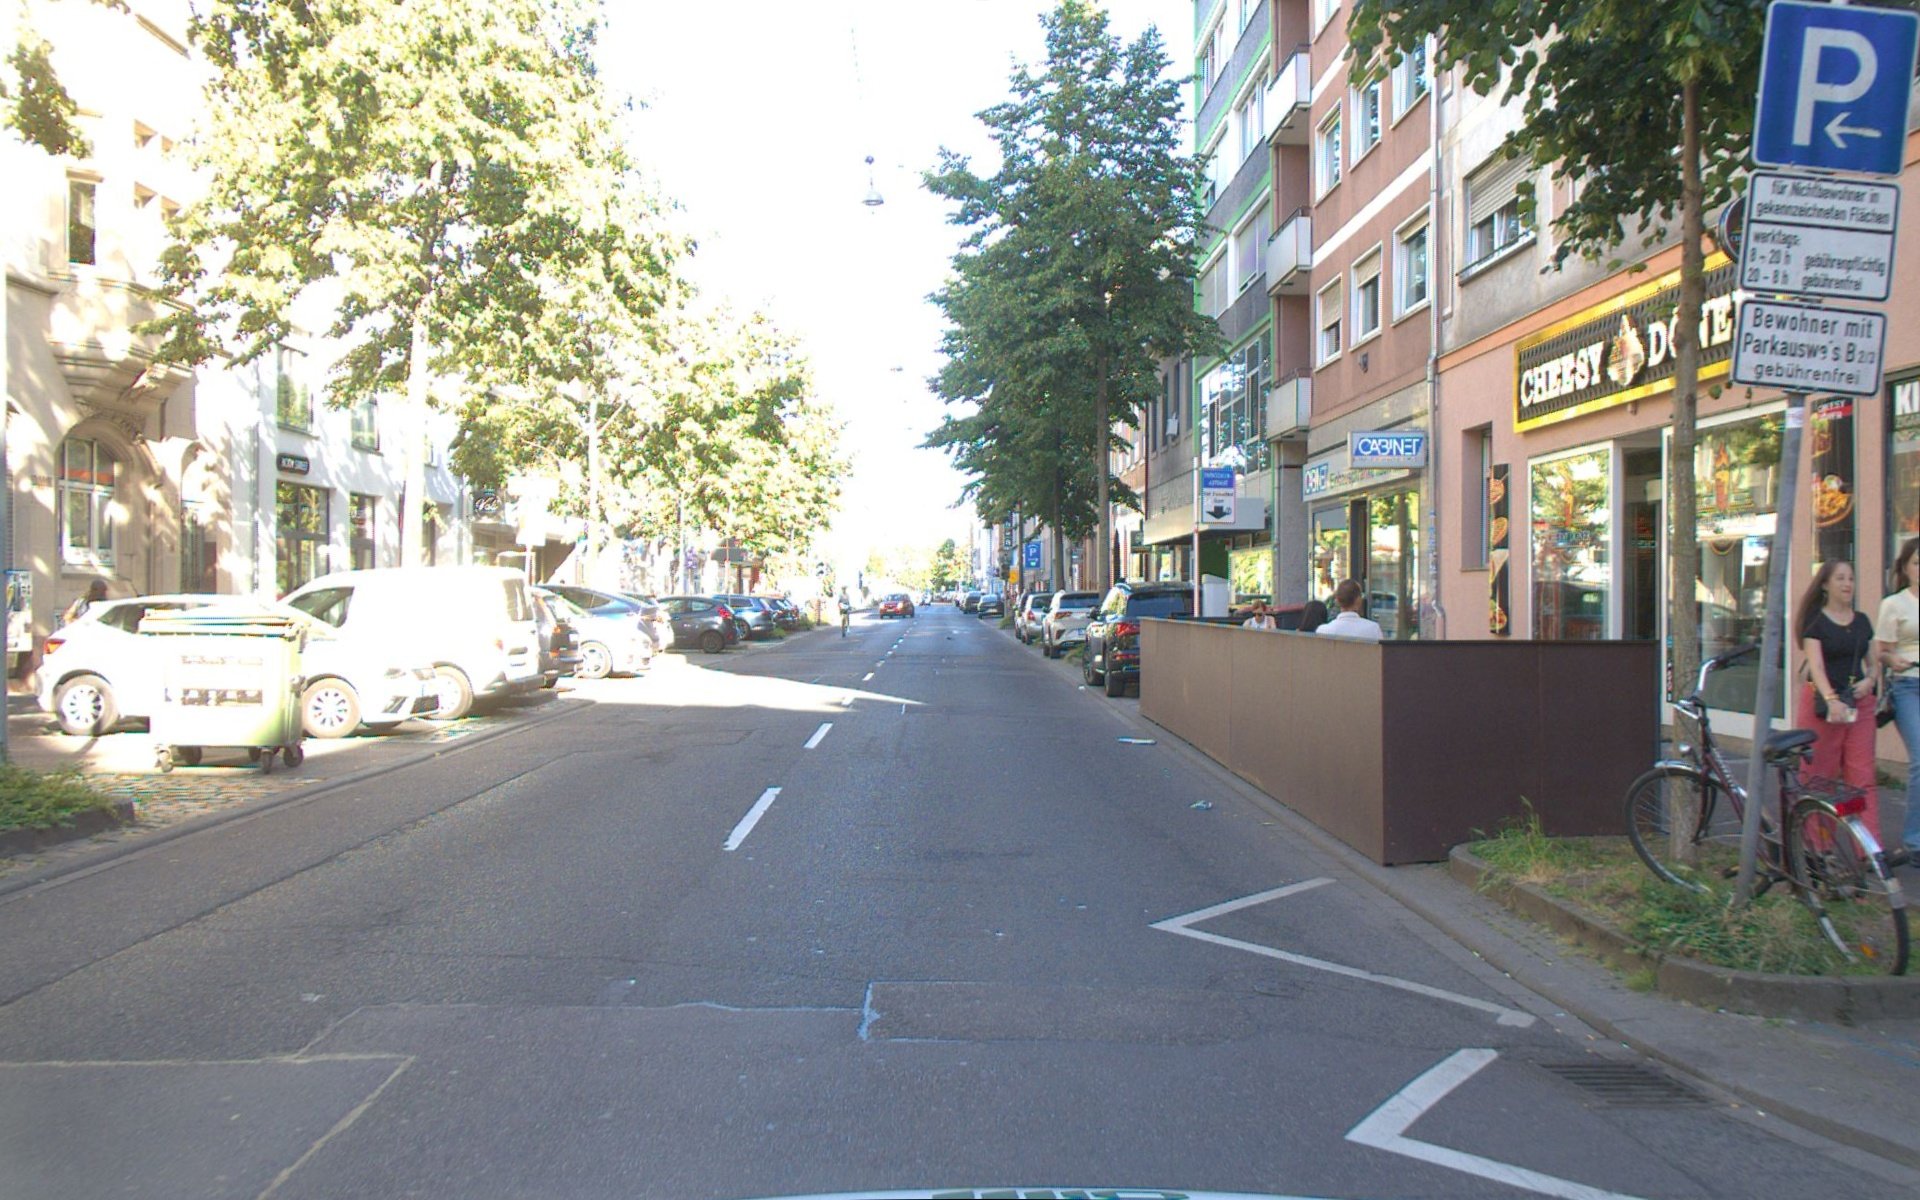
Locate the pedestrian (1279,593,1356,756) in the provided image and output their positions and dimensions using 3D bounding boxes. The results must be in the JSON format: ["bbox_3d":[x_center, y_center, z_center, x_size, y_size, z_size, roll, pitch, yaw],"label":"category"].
[{"bbox_3d":[3.156,0.647,14.630,0.541,1.403,0.594,1,0,0],"label":"pedestrian"}]

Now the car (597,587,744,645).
[{"bbox_3d":[-7.557,0.403,43.397,3.709,1.484,1.778,0,0,-8],"label":"car"}]

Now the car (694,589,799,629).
[{"bbox_3d":[-8.171,0.339,63.411,3.762,1.454,1.790,1,0,0],"label":"car"}]

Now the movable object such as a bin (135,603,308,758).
[{"bbox_3d":[-6.756,0.716,15.196,1.168,1.369,0.931,0,0,-2],"label":"movable object such as a bin"}]

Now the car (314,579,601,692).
[{"bbox_3d":[-7.434,0.507,24.709,3.722,1.585,1.791,0,0,-1],"label":"car"}]

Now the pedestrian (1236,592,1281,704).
[{"bbox_3d":[3.699,0.586,20.474,0.463,1.354,0.483,1,0,18],"label":"pedestrian"}]

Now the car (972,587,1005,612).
[{"bbox_3d":[1.830,-0.053,107.534,1.879,1.504,4.964,-4,0,-1],"label":"car"}]

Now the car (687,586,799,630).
[{"bbox_3d":[-7.933,0.285,60.767,3.838,1.511,1.771,1,0,0],"label":"car"}]

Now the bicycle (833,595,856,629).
[{"bbox_3d":[-4.167,0.423,59.818,0.710,1.189,2.197,0,0,0],"label":"bicycle"}]

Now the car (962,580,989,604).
[{"bbox_3d":[1.160,-0.592,127.135,1.933,1.755,4.823,1,1,-1],"label":"car"}]

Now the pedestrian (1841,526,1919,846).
[{"bbox_3d":[5.296,0.438,8.932,0.628,1.673,0.748,-2,0,-2],"label":"pedestrian"}]

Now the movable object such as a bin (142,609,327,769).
[{"bbox_3d":[-6.228,0.744,14.260,1.212,1.325,0.870,0,0,-2],"label":"movable object such as a bin"}]

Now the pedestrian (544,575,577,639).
[{"bbox_3d":[-11.423,0.196,47.312,0.684,1.829,0.746,0,0,11],"label":"pedestrian"}]

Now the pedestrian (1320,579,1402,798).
[{"bbox_3d":[2.909,0.630,12.019,0.463,1.556,0.462,1,0,0],"label":"pedestrian"}]

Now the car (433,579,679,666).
[{"bbox_3d":[-7.749,0.412,32.044,4.277,1.598,1.980,0,0,-1],"label":"car"}]

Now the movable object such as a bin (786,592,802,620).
[{"bbox_3d":[-8.122,0.297,81.038,0.739,1.364,0.805,0,0,-2],"label":"movable object such as a bin"}]

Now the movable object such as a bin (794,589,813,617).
[{"bbox_3d":[-8.326,0.166,87.979,0.944,1.497,1.143,0,0,-2],"label":"movable object such as a bin"}]

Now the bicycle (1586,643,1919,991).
[{"bbox_3d":[3.359,0.815,7.073,0.497,1.184,2.144,0,0,-2],"label":"bicycle"}]

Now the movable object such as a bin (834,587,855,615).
[{"bbox_3d":[-6.145,0.048,88.100,1.021,1.497,1.452,0,0,-2],"label":"movable object such as a bin"}]

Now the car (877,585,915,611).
[{"bbox_3d":[-4.046,-0.151,105.693,1.623,1.562,3.764,-1,0,10],"label":"car"}]

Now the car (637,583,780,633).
[{"bbox_3d":[-8.207,0.259,54.193,4.403,1.484,1.789,2,0,-3],"label":"car"}]

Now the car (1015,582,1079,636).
[{"bbox_3d":[2.680,0.258,51.713,1.581,1.555,4.233,-3,0,-2],"label":"car"}]

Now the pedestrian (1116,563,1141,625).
[{"bbox_3d":[4.979,-0.170,48.825,0.610,1.796,0.771,-2,0,0],"label":"pedestrian"}]

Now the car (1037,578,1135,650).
[{"bbox_3d":[2.930,0.297,39.309,1.845,1.553,4.233,-2,0,-1],"label":"car"}]

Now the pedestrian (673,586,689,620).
[{"bbox_3d":[-11.942,0.136,70.791,0.497,1.433,0.825,1,1,3],"label":"pedestrian"}]

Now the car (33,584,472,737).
[{"bbox_3d":[-7.504,0.608,17.841,3.898,1.489,1.887,1,0,-1],"label":"car"}]

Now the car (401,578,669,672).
[{"bbox_3d":[-7.536,0.421,29.617,4.277,1.598,1.946,0,0,-1],"label":"car"}]

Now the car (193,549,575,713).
[{"bbox_3d":[-7.061,0.360,20.621,4.022,1.868,2.038,1,0,-1],"label":"car"}]

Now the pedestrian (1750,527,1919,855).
[{"bbox_3d":[4.706,0.463,8.889,0.503,1.673,0.748,-2,0,-2],"label":"pedestrian"}]

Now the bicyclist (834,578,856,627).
[{"bbox_3d":[-4.165,0.087,59.752,0.710,1.730,1.282,0,0,0],"label":"bicyclist"}]

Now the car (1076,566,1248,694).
[{"bbox_3d":[3.049,0.406,25.899,1.953,1.719,4.515,-3,0,-1],"label":"car"}]

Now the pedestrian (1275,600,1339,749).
[{"bbox_3d":[3.282,0.692,15.673,0.463,1.386,0.594,1,0,0],"label":"pedestrian"}]

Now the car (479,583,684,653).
[{"bbox_3d":[-8.311,0.392,36.666,4.162,1.484,1.978,0,0,-5],"label":"car"}]

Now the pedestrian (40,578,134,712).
[{"bbox_3d":[-10.272,0.518,19.485,0.580,1.520,0.842,3,0,0],"label":"pedestrian"}]

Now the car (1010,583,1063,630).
[{"bbox_3d":[2.638,0.215,57.600,1.581,1.555,3.060,-2,0,-2],"label":"car"}]

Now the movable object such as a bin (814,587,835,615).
[{"bbox_3d":[-7.213,0.044,88.044,1.021,1.497,1.143,0,0,-2],"label":"movable object such as a bin"}]

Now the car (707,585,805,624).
[{"bbox_3d":[-8.107,0.181,65.943,3.672,1.494,1.739,1,0,-1],"label":"car"}]
